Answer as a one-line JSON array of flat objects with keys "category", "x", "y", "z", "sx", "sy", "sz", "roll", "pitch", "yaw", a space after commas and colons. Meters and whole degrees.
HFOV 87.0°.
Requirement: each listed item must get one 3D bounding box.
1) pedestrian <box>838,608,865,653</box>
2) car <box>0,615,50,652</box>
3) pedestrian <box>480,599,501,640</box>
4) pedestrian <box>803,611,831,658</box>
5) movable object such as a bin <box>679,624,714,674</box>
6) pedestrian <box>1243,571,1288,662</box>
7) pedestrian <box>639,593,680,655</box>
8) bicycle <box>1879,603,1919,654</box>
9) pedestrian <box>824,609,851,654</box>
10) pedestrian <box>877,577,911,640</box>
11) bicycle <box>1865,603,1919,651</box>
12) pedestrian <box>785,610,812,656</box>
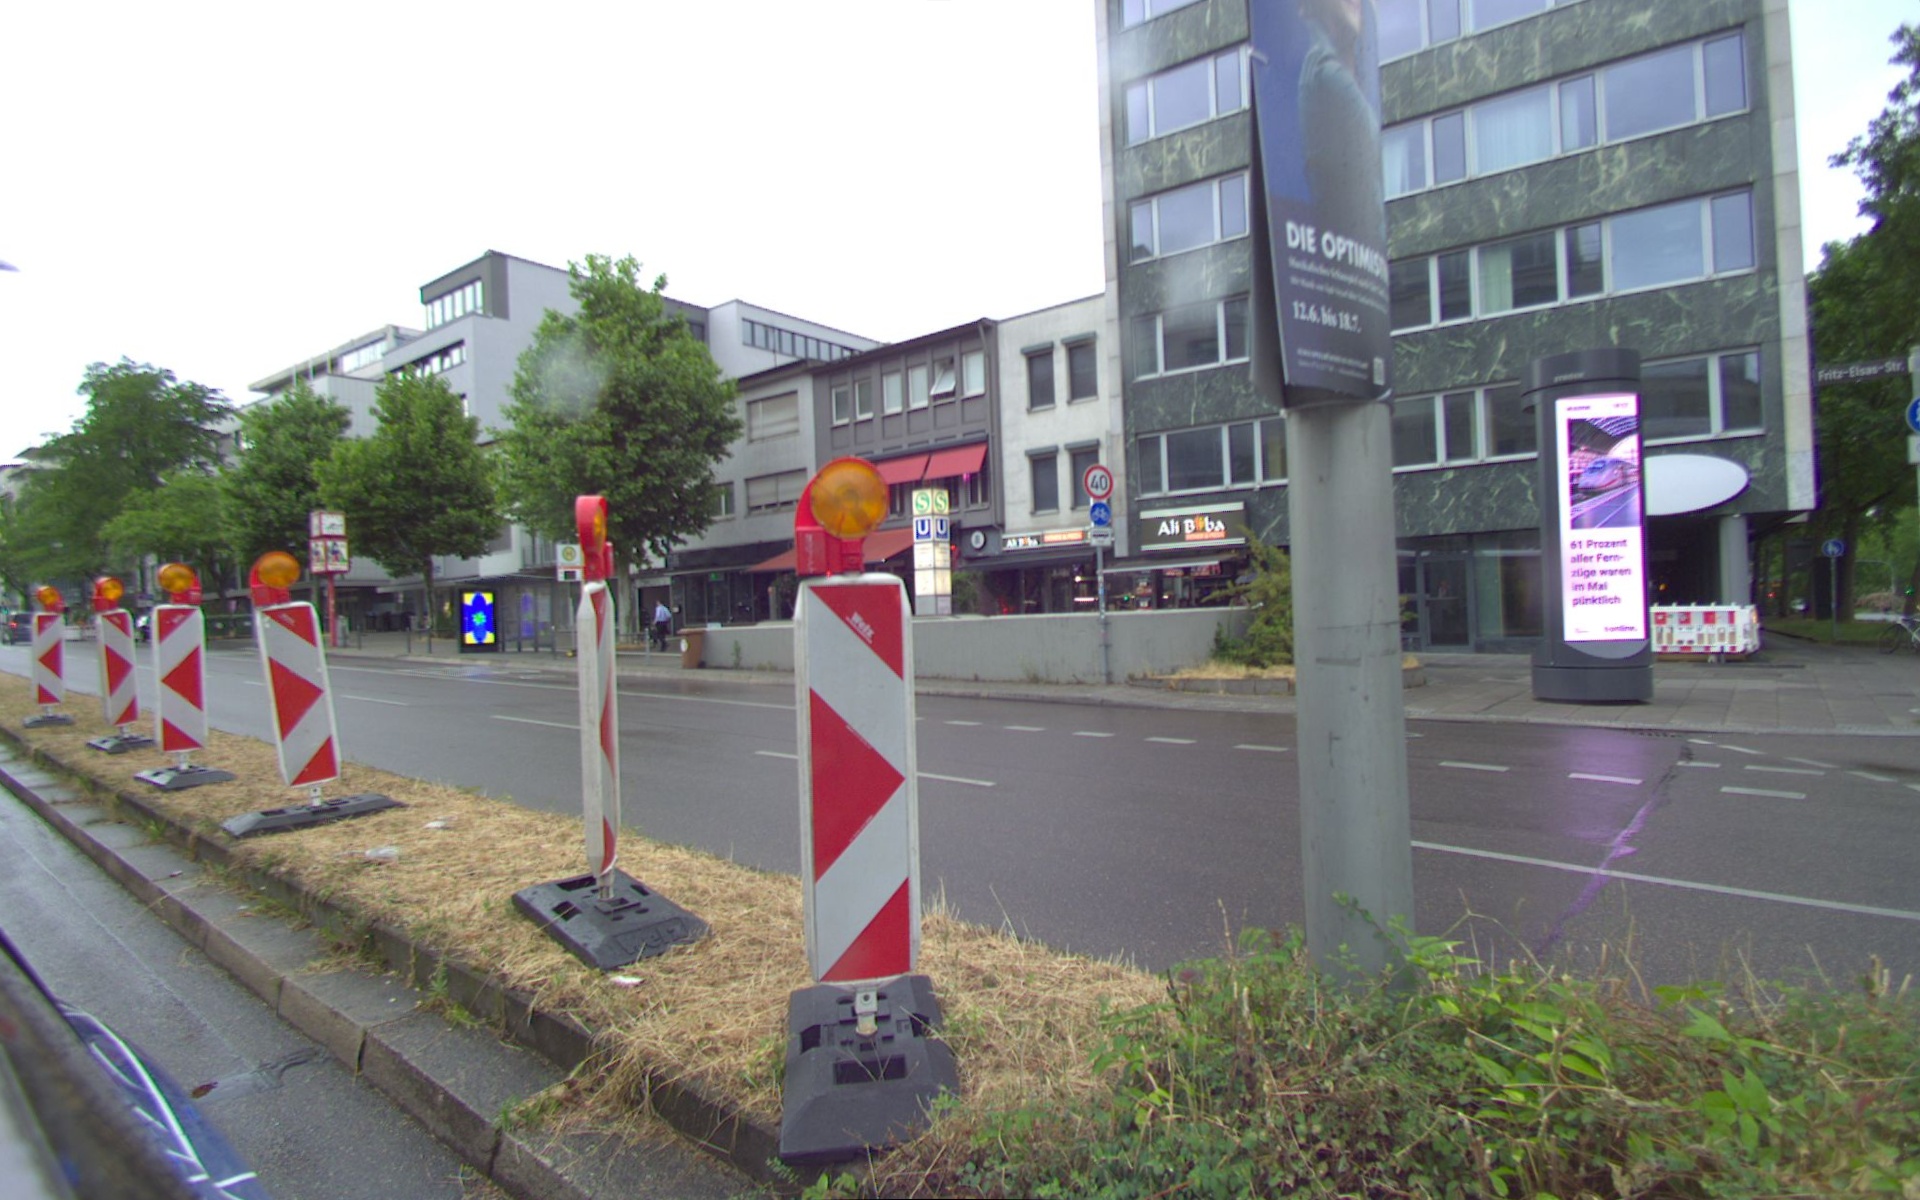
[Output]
[{"category": "pedestrian", "x": -3.758, "y": 1.040, "z": 35.018, "sx": 0.611, "sy": 1.540, "sz": 0.660, "roll": -2, "pitch": -1, "yaw": 44}, {"category": "car", "x": -54.039, "y": 1.917, "z": 58.380, "sx": 4.968, "sy": 1.942, "sz": 1.971, "roll": 1, "pitch": 0, "yaw": 45}, {"category": "pedestrian", "x": -23.584, "y": 0.989, "z": 50.845, "sx": 0.764, "sy": 2.029, "sz": 0.768, "roll": -1, "pitch": 0, "yaw": -41}, {"category": "pedestrian", "x": -4.756, "y": 1.128, "z": 33.678, "sx": 0.611, "sy": 1.540, "sz": 0.660, "roll": -2, "pitch": -1, "yaw": 44}, {"category": "movable object such as a bin", "x": -6.105, "y": 1.129, "z": 23.453, "sx": 0.660, "sy": 1.109, "sz": 0.501, "roll": -1, "pitch": 0, "yaw": 39}, {"category": "pedestrian", "x": 6.969, "y": 0.375, "z": 23.085, "sx": 0.588, "sy": 2.029, "sz": 0.730, "roll": 0, "pitch": -1, "yaw": -29}, {"category": "pedestrian", "x": -9.931, "y": 0.777, "z": 33.419, "sx": 0.943, "sy": 2.029, "sz": 0.910, "roll": -1, "pitch": 0, "yaw": 41}, {"category": "bicycle", "x": 20.764, "y": 0.598, "z": 21.483, "sx": 1.780, "sy": 1.060, "sz": 0.579, "roll": -1, "pitch": -1, "yaw": 37}, {"category": "pedestrian", "x": -4.277, "y": 1.108, "z": 35.367, "sx": 0.611, "sy": 1.540, "sz": 0.660, "roll": -2, "pitch": -1, "yaw": 44}, {"category": "pedestrian", "x": -1.947, "y": 0.262, "z": 29.943, "sx": 0.791, "sy": 1.837, "sz": 0.603, "roll": -1, "pitch": 0, "yaw": 36}, {"category": "bicycle", "x": 21.259, "y": 0.592, "z": 22.391, "sx": 1.780, "sy": 1.060, "sz": 0.579, "roll": -1, "pitch": -1, "yaw": 37}, {"category": "pedestrian", "x": -5.473, "y": 1.126, "z": 34.340, "sx": 0.611, "sy": 1.540, "sz": 0.660, "roll": -2, "pitch": -1, "yaw": 44}]
